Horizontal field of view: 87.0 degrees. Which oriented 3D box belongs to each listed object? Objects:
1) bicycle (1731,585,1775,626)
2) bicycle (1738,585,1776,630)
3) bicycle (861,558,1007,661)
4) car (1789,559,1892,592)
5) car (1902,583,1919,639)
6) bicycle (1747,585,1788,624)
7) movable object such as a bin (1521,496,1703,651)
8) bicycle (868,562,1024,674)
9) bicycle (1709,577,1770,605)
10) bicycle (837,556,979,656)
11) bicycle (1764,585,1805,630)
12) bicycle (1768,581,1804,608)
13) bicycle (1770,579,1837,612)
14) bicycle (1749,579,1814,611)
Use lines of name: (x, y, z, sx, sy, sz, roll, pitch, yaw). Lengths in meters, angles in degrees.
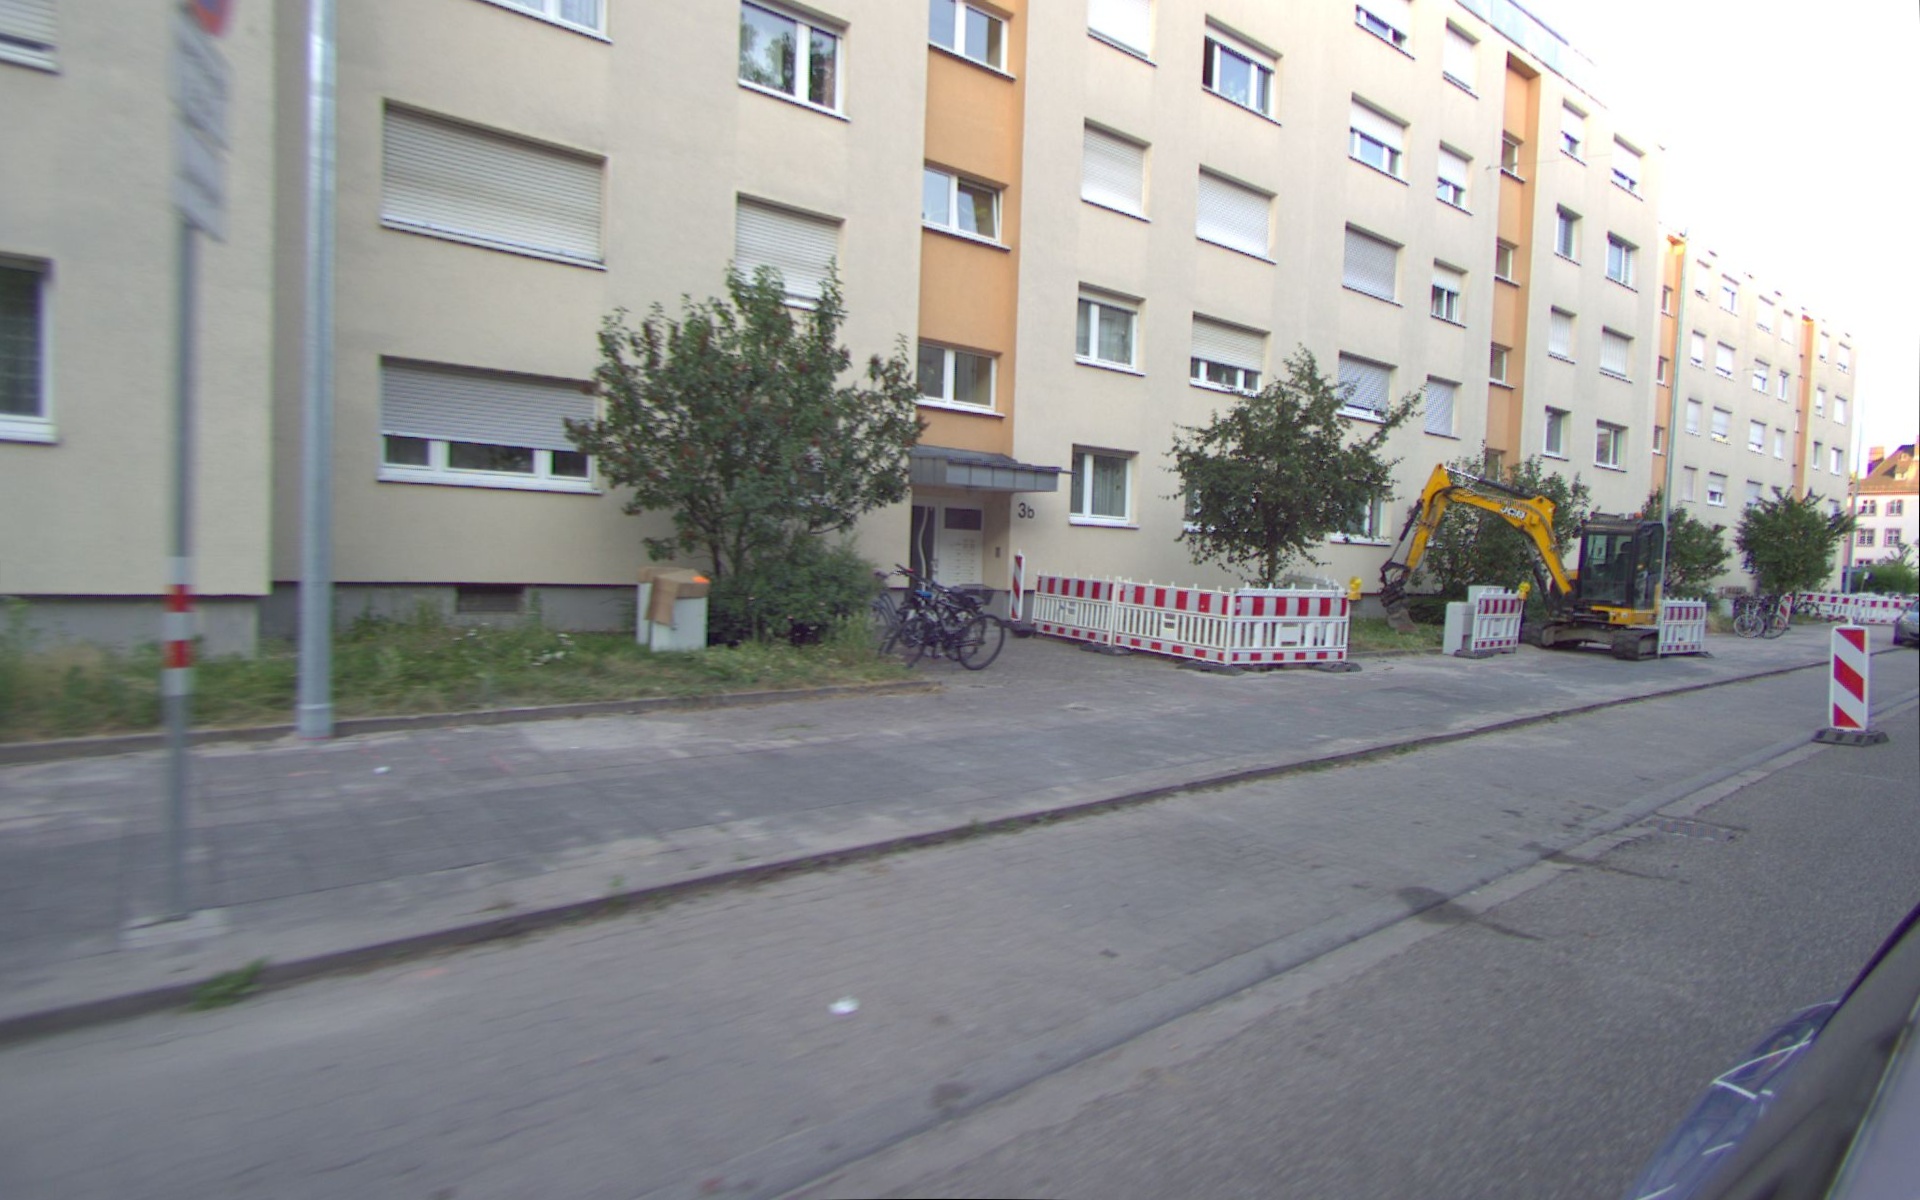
bicycle: (23.659, 0.153, 30.186, 1.783, 1.186, 0.557, 0, 2, -38)
bicycle: (22.443, 0.191, 28.527, 0.624, 1.186, 1.795, 3, 2, 33)
bicycle: (-0.299, 0.097, 12.386, 1.783, 1.186, 0.557, 0, 2, -38)
car: (62.342, -1.731, 71.730, 2.245, 2.155, 5.042, 0, 3, -32)
car: (28.626, 0.379, 28.911, 4.491, 1.507, 1.782, 0, 7, -39)
bicycle: (25.156, 0.126, 31.533, 1.783, 1.186, 0.557, 0, 2, -38)
movable object such as a bin: (12.524, -0.517, 19.442, 2.837, 2.726, 1.940, 0, 3, -36)
bicycle: (-0.136, 0.185, 11.570, 1.783, 1.186, 0.557, 0, 2, -38)
bicycle: (31.015, -0.363, 40.282, 1.788, 0.931, 0.557, 5, 6, 10)
bicycle: (-0.642, 0.059, 12.882, 1.783, 1.186, 0.557, 0, 2, -38)
bicycle: (23.147, 0.200, 28.446, 0.553, 1.186, 1.798, 2, 2, 30)
bicycle: (33.252, -0.237, 40.764, 0.551, 0.874, 1.604, 7, 7, 21)
bicycle: (32.780, -0.178, 39.346, 0.548, 1.034, 1.818, -1, 9, -38)
bicycle: (31.249, -0.208, 38.525, 0.547, 0.997, 1.763, 0, 8, -30)
